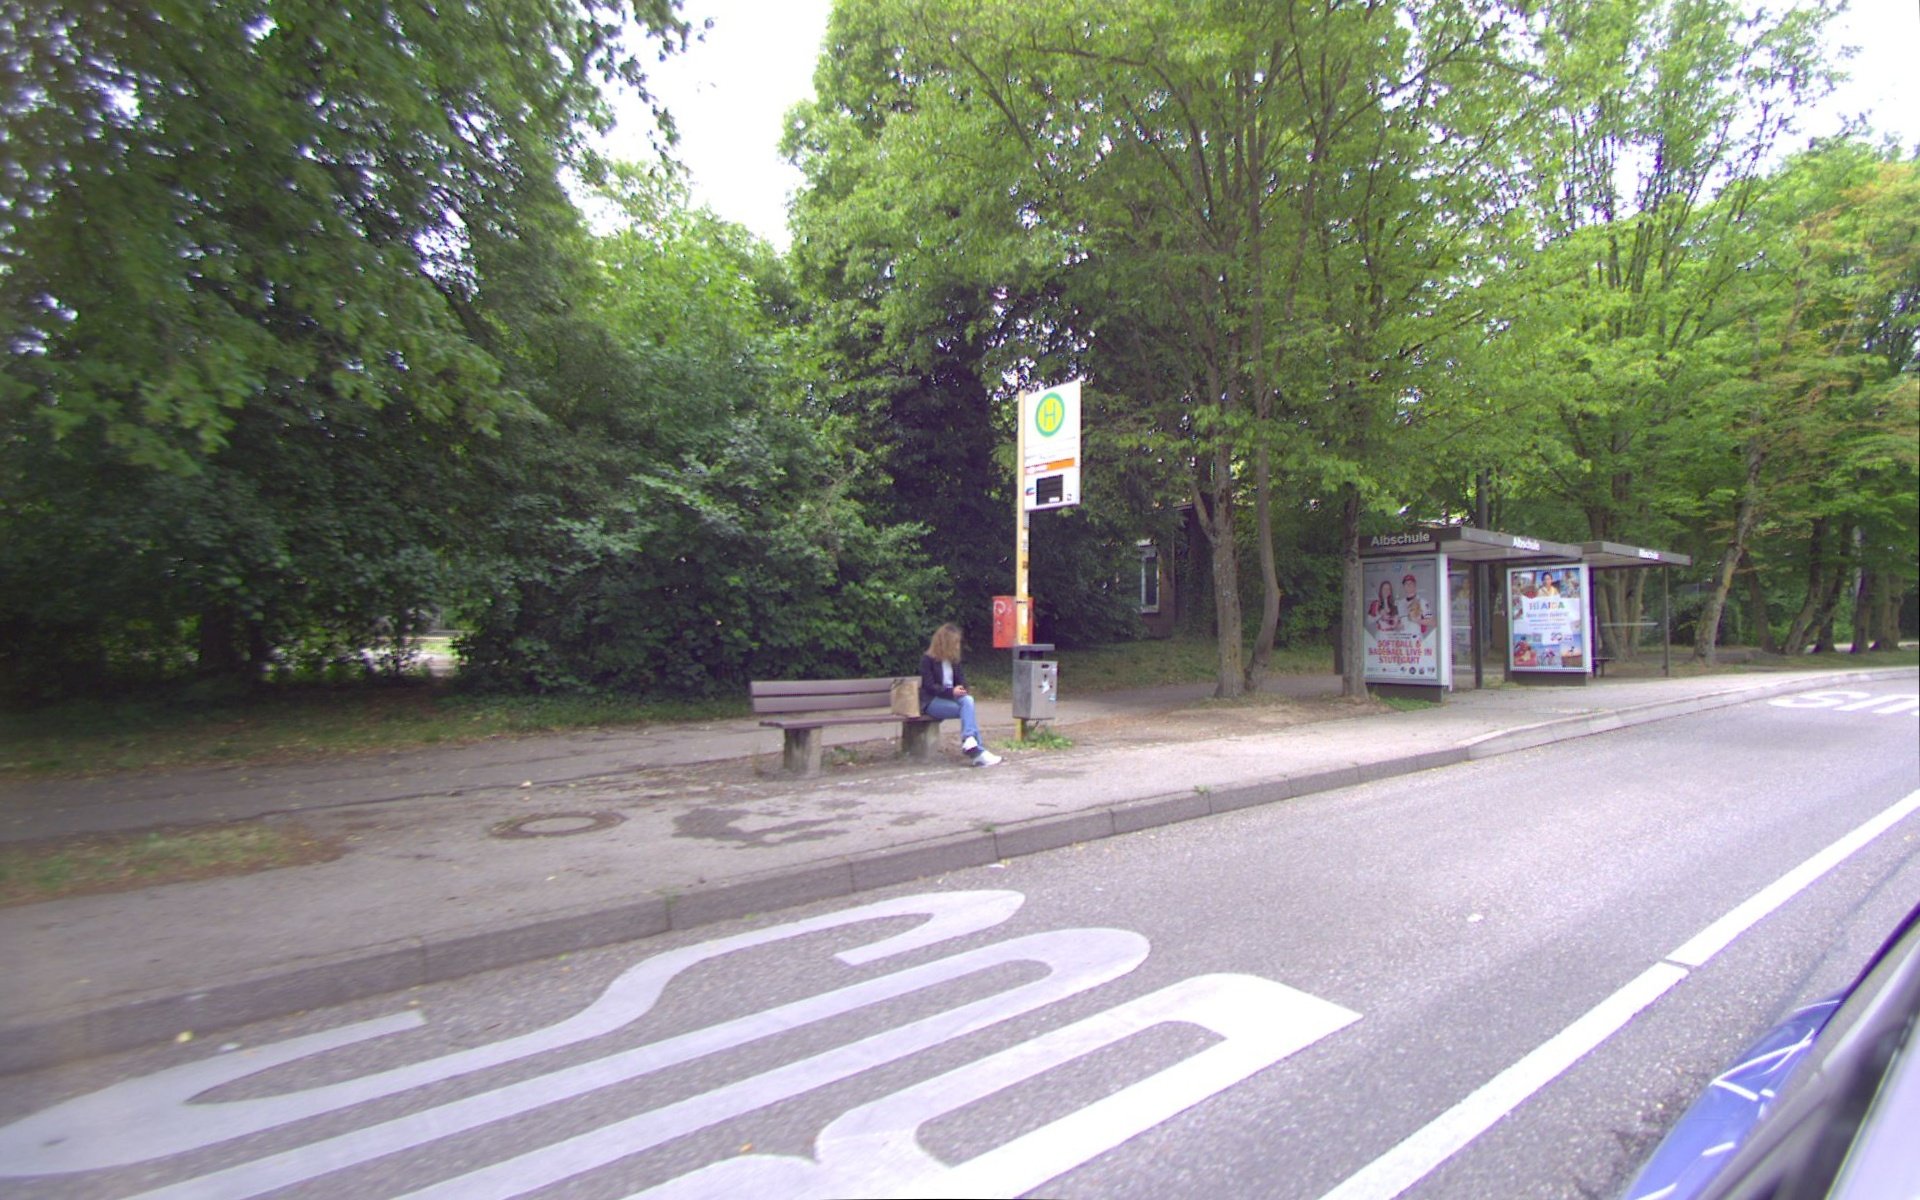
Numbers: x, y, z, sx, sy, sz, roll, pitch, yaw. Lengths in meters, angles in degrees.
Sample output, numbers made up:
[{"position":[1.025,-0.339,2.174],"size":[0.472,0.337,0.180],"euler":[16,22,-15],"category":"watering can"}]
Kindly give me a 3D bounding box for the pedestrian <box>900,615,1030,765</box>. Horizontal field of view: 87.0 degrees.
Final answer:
[{"position":[0.028,0.735,8.796],"size":[0.570,1.197,1.065],"euler":[1,-1,-41],"category":"pedestrian"}]
